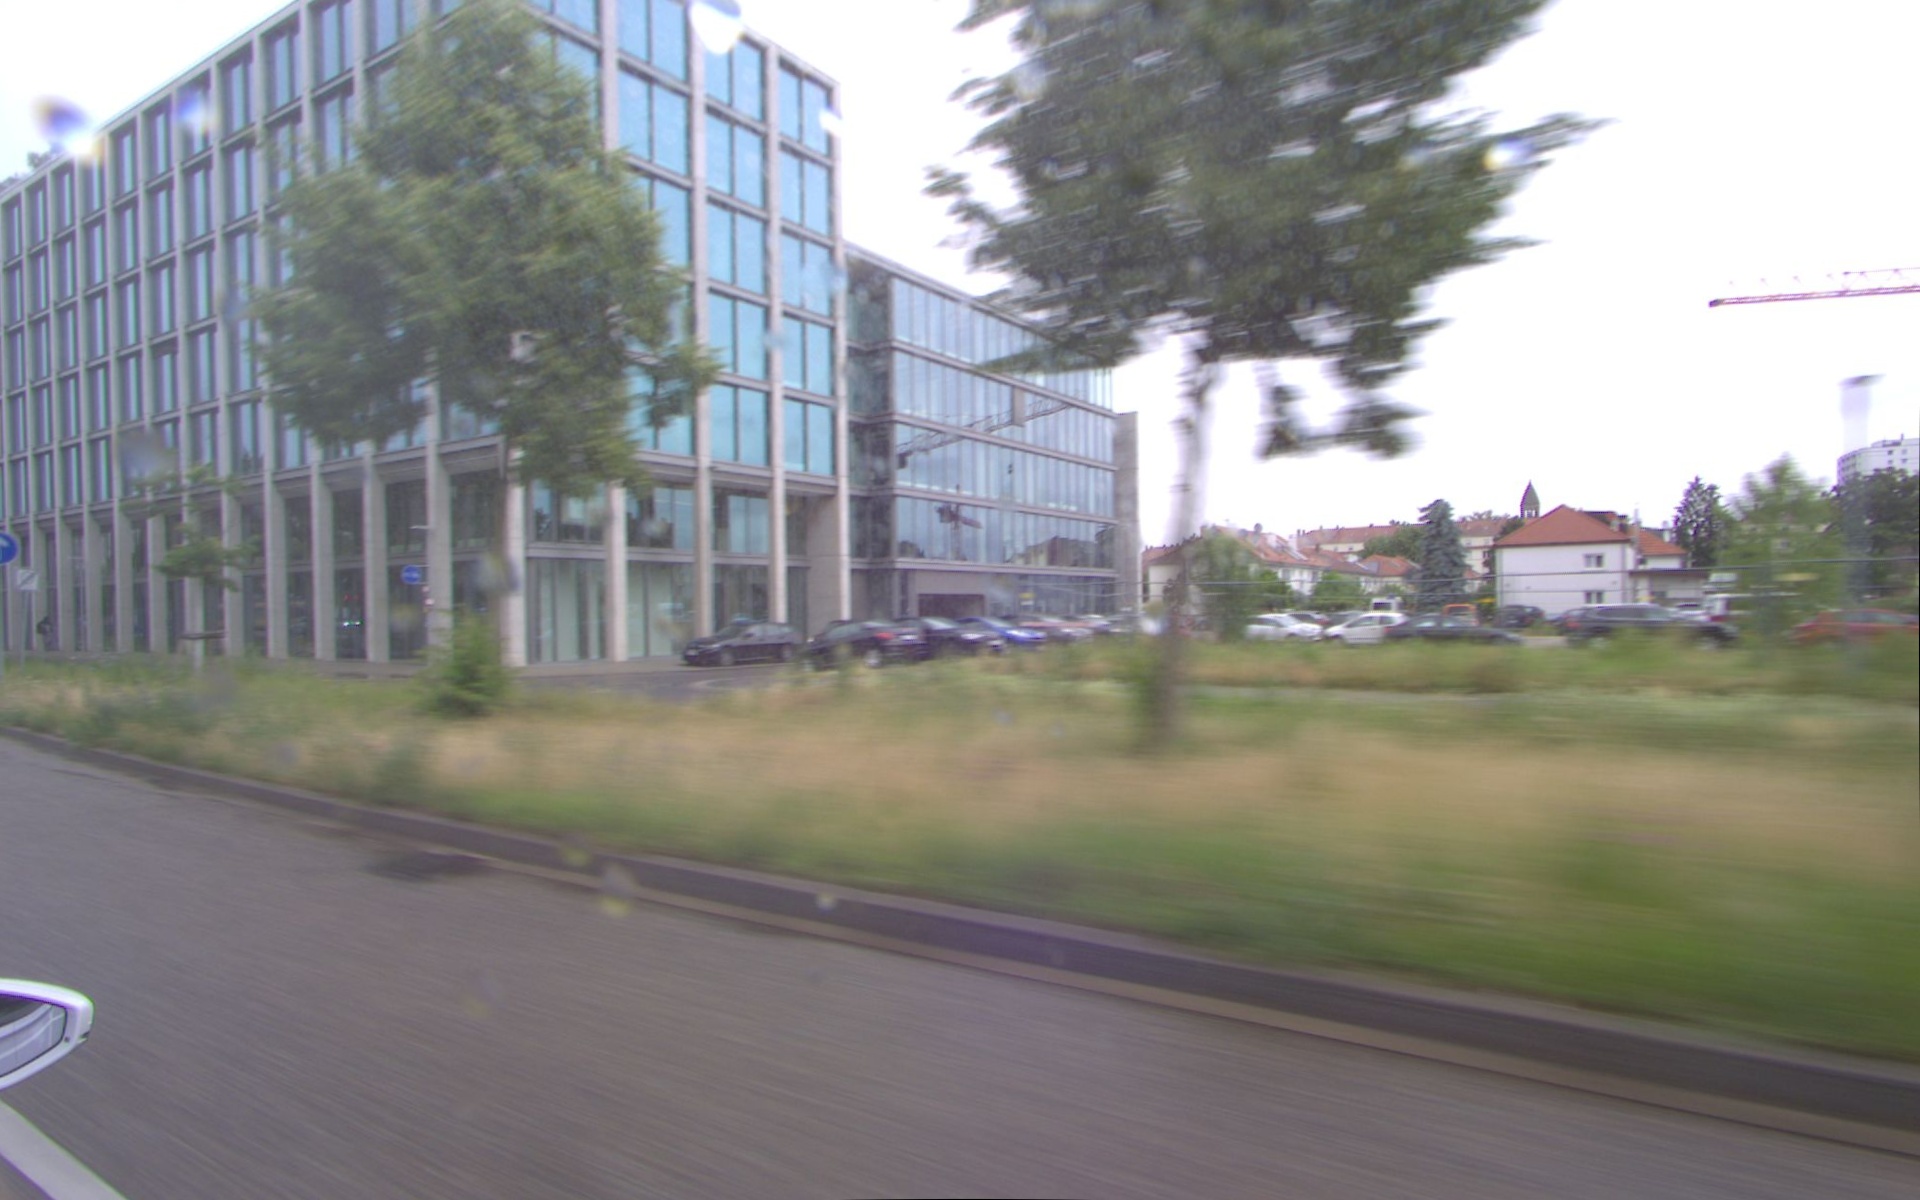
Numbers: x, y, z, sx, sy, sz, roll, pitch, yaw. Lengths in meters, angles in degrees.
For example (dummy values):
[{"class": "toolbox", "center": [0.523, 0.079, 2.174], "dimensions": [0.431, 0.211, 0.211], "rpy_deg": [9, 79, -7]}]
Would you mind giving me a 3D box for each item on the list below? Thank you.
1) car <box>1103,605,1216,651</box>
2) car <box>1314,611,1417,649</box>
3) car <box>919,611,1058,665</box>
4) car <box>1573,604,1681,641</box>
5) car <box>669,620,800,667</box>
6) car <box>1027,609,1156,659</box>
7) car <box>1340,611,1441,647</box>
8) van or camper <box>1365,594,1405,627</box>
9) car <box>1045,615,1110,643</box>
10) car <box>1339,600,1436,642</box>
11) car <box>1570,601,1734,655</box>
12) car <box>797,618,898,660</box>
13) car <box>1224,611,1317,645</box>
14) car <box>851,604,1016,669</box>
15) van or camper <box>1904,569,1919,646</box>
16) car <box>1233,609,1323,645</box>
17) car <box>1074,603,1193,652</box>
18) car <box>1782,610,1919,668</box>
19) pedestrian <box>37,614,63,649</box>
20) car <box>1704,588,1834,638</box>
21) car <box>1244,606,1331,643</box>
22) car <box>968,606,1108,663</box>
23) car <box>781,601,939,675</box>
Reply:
[{"class": "car", "center": [7.854, 1.117, 39.562], "dimensions": [3.951, 1.621, 1.849], "rpy_deg": [-4, -2, 37]}, {"class": "car", "center": [18.184, 1.361, 44.902], "dimensions": [3.978, 1.463, 1.693], "rpy_deg": [-5, -3, 33]}, {"class": "car", "center": [0.849, 1.194, 31.131], "dimensions": [3.951, 1.473, 1.849], "rpy_deg": [-4, -3, 37]}, {"class": "car", "center": [30.024, 1.030, 45.207], "dimensions": [3.975, 1.602, 1.692], "rpy_deg": [-1, 0, 32]}, {"class": "car", "center": [-7.806, 1.464, 34.960], "dimensions": [1.955, 1.457, 4.204], "rpy_deg": [1, 0, 36]}, {"class": "car", "center": [4.629, 1.220, 35.576], "dimensions": [4.179, 1.493, 1.780], "rpy_deg": [-6, -4, 37]}, {"class": "car", "center": [19.940, 1.359, 46.439], "dimensions": [3.982, 1.369, 1.691], "rpy_deg": [-6, -4, 35]}, {"class": "van or camper", "center": [35.691, 0.907, 83.992], "dimensions": [2.065, 2.618, 5.598], "rpy_deg": [-1, -1, 35]}, {"class": "car", "center": [6.417, 1.547, 54.411], "dimensions": [1.837, 1.457, 3.974], "rpy_deg": [1, 0, 36]}, {"class": "car", "center": [21.003, 1.051, 49.293], "dimensions": [3.987, 1.733, 1.689], "rpy_deg": [-6, -4, 39]}, {"class": "car", "center": [21.842, 0.873, 31.718], "dimensions": [4.179, 1.622, 1.849], "rpy_deg": [-1, -1, 37]}, {"class": "car", "center": [-4.432, 1.494, 39.926], "dimensions": [1.835, 1.508, 3.976], "rpy_deg": [2, 1, 35]}, {"class": "car", "center": [15.046, 1.381, 48.601], "dimensions": [3.976, 1.369, 1.694], "rpy_deg": [-5, -3, 31]}, {"class": "car", "center": [-0.807, 1.075, 28.642], "dimensions": [4.504, 1.472, 1.849], "rpy_deg": [-7, -4, 37]}, {"class": "van or camper", "center": [41.281, 0.252, 38.560], "dimensions": [6.679, 3.033, 2.901], "rpy_deg": [-1, -1, 32]}, {"class": "car", "center": [16.069, 1.368, 50.559], "dimensions": [3.974, 1.514, 1.853], "rpy_deg": [-5, -3, 29]}, {"class": "car", "center": [6.511, 1.060, 37.720], "dimensions": [3.952, 1.621, 1.849], "rpy_deg": [-5, -3, 37]}, {"class": "car", "center": [26.604, 1.102, 29.094], "dimensions": [3.942, 1.622, 1.852], "rpy_deg": [-1, -1, 32]}, {"class": "pedestrian", "center": [-46.153, 1.605, 50.769], "dimensions": [0.848, 1.738, 0.715], "rpy_deg": [0, 2, 31]}, {"class": "car", "center": [34.329, 0.573, 42.627], "dimensions": [4.105, 2.032, 1.692], "rpy_deg": [-1, 0, 33]}, {"class": "car", "center": [17.047, 1.289, 52.193], "dimensions": [3.974, 1.621, 1.853], "rpy_deg": [-5, -3, 29]}, {"class": "car", "center": [2.588, 1.176, 33.839], "dimensions": [4.363, 1.621, 1.849], "rpy_deg": [-6, -4, 37]}, {"class": "car", "center": [-2.702, 1.044, 26.563], "dimensions": [3.956, 1.599, 1.848], "rpy_deg": [-7, -5, 39]}]
